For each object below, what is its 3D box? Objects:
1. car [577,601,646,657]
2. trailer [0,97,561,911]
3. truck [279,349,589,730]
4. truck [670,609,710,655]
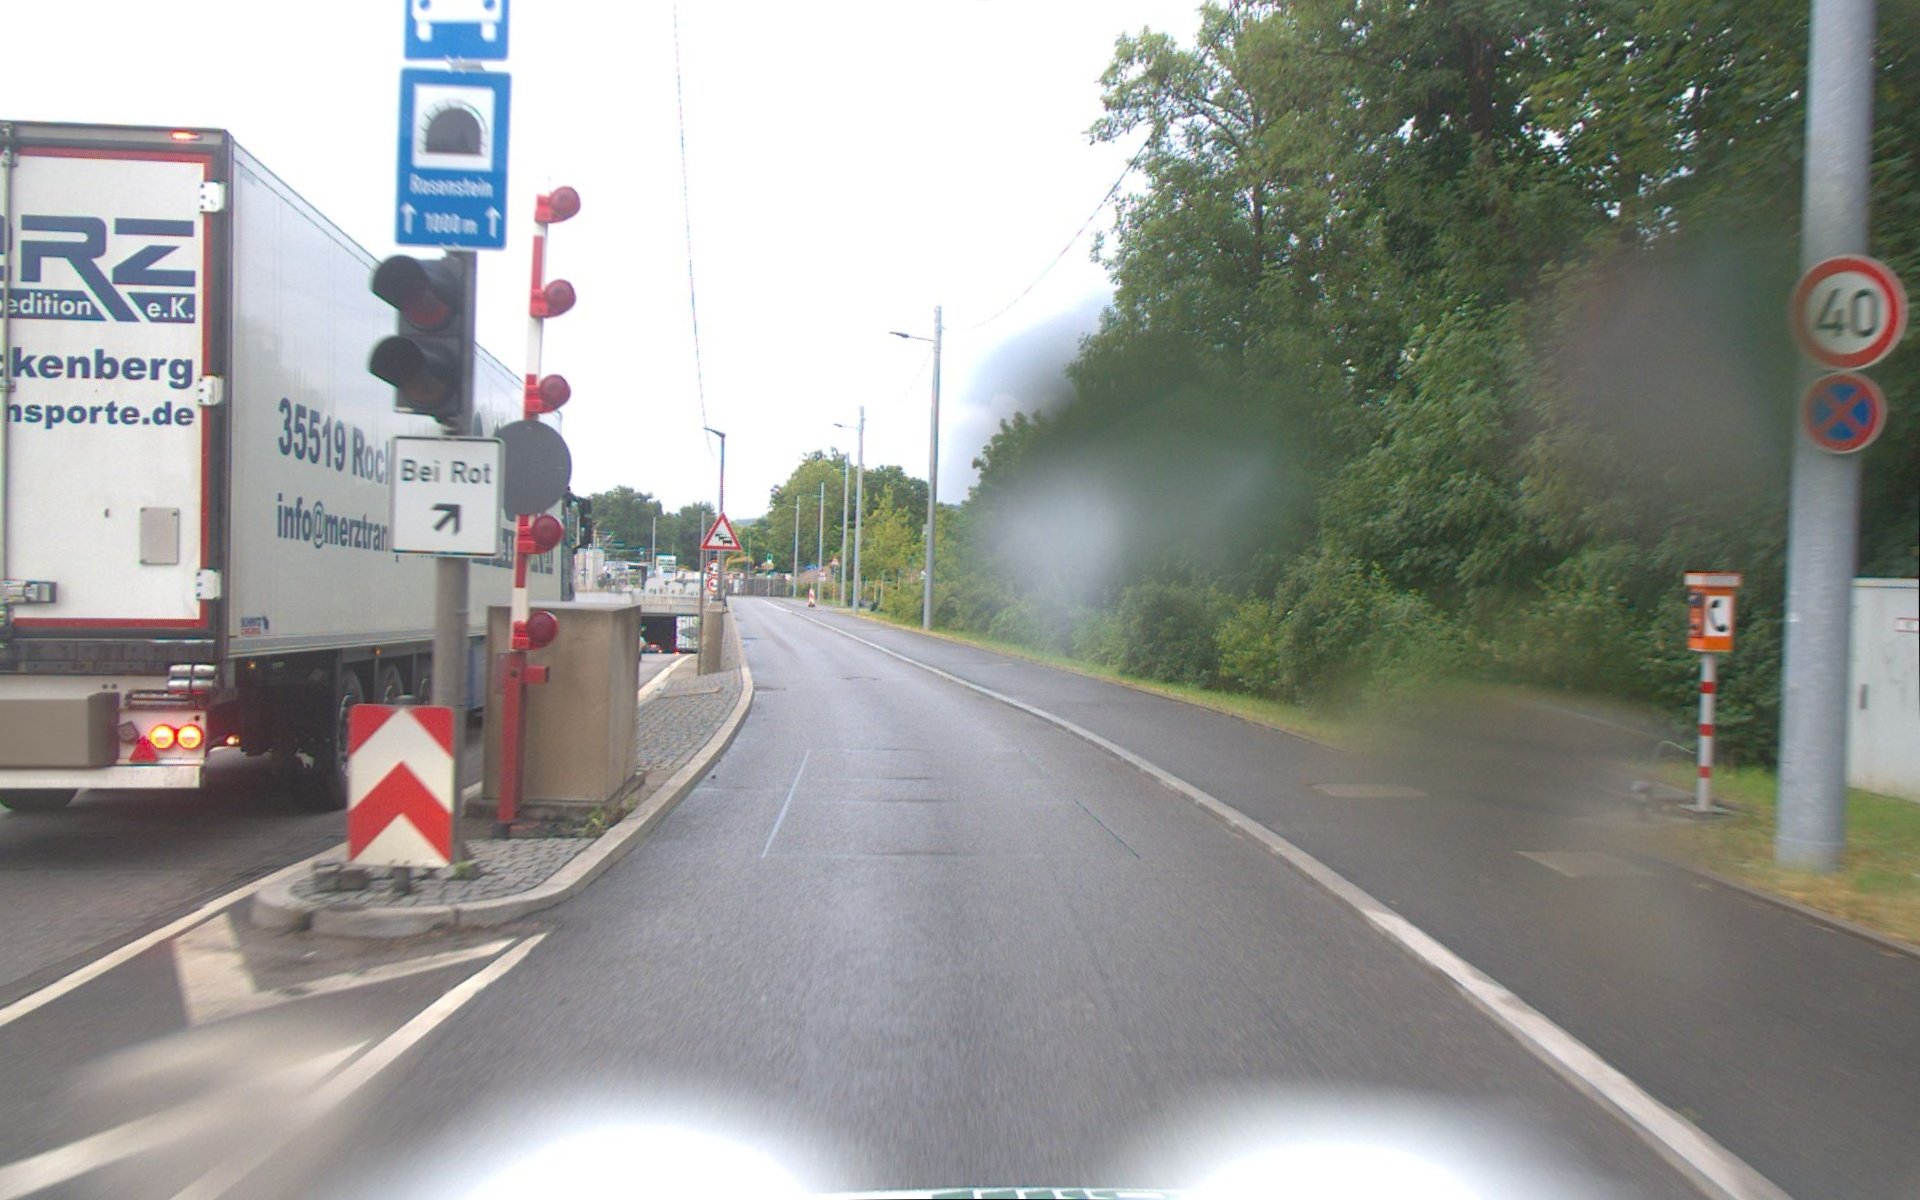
[{"bbox_3d":[-10.480,0.844,49.967,1.776,1.448,3.993,1,2,-8],"label":"car"},{"bbox_3d":[-5.960,-0.586,15.319,2.709,4.327,13.166,0,1,-6],"label":"trailer"},{"bbox_3d":[-6.659,-0.720,21.912,2.703,4.278,6.298,0,1,-6],"label":"truck"},{"bbox_3d":[-25.128,2.890,154.217,3.452,4.110,8.059,0,0,-8],"label":"truck"}]
